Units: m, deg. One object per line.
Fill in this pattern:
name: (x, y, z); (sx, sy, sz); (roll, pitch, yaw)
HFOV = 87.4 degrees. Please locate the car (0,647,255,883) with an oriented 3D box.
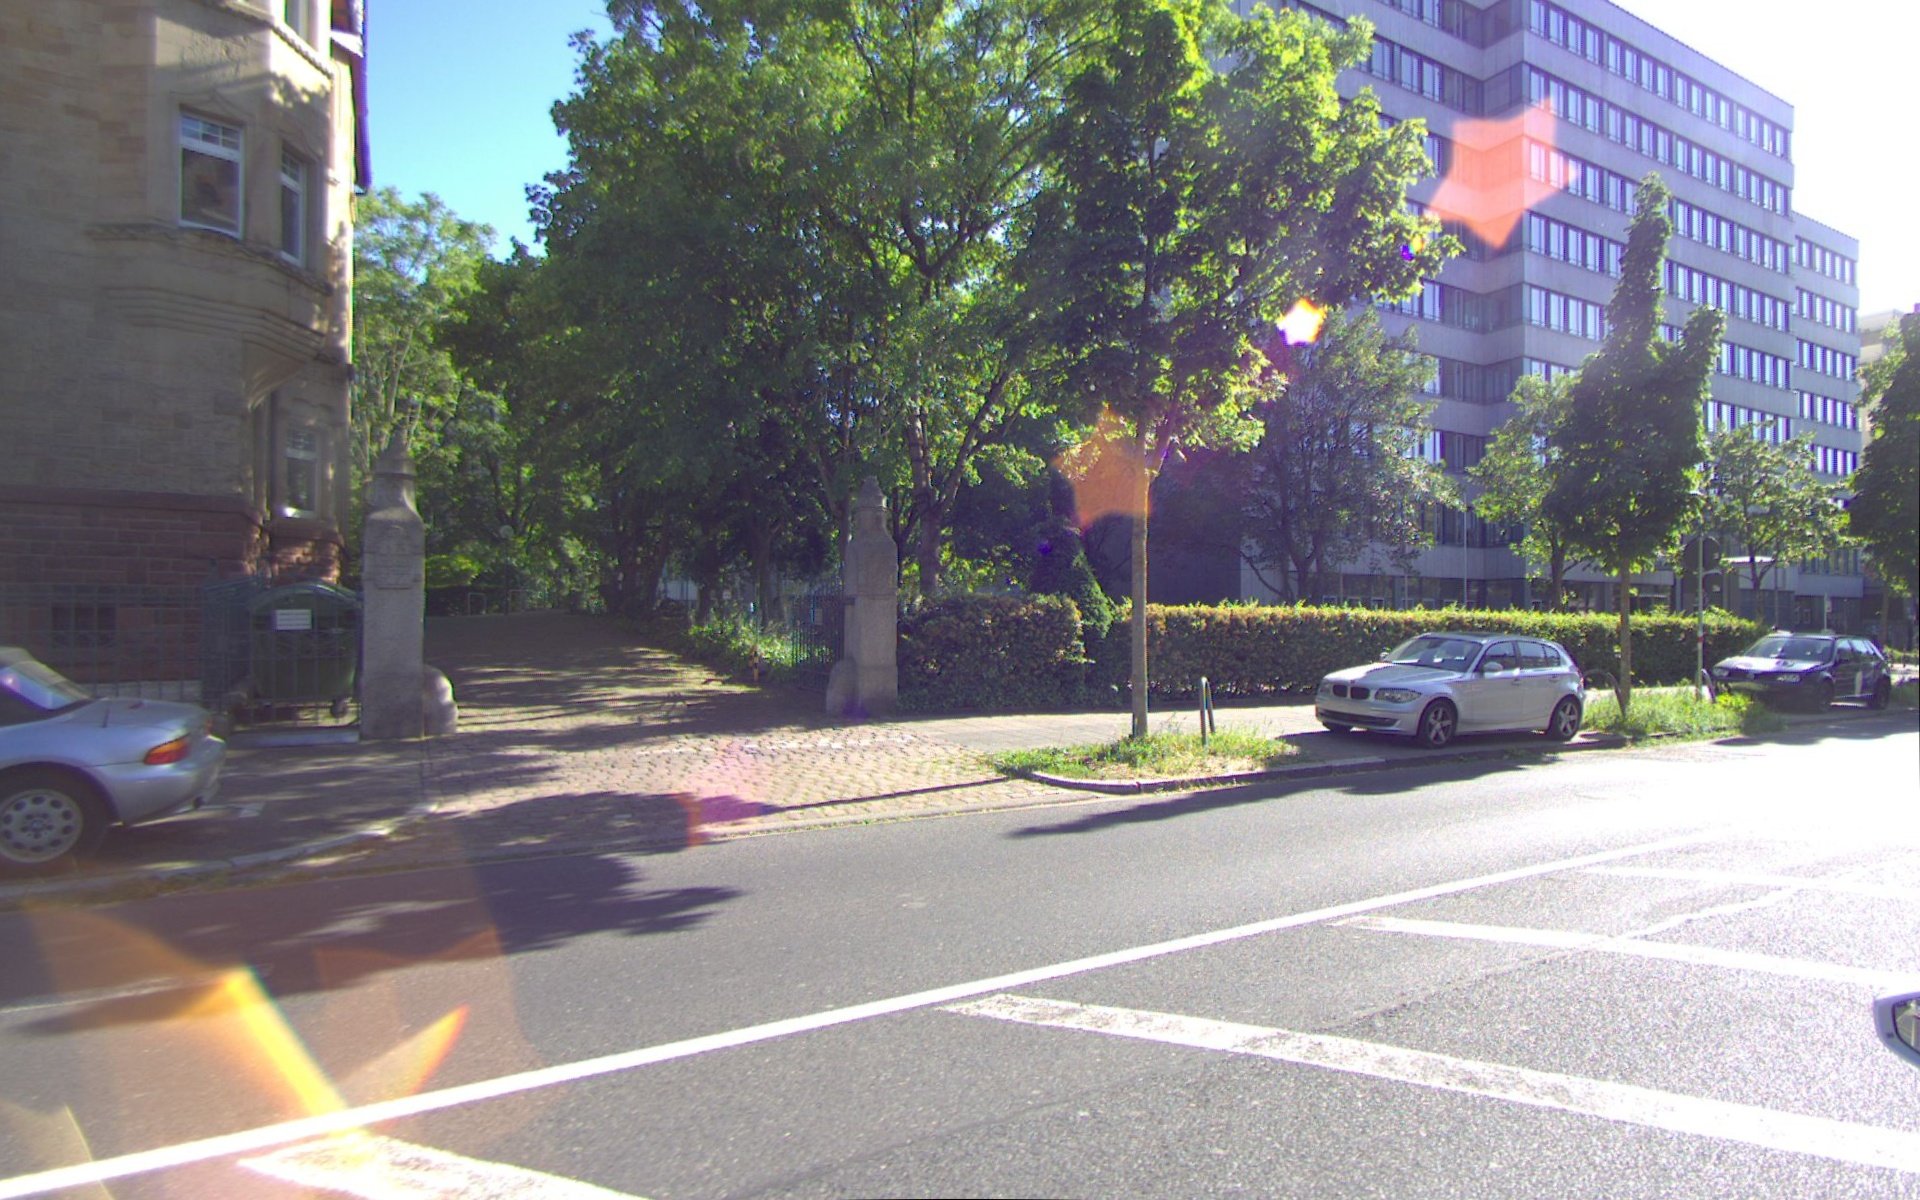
car: (-6.652, 0.952, 5.872); (3.967, 1.272, 1.671); (1, -1, -30)

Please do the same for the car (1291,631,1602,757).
car: (6.680, 1.182, 13.720); (4.138, 1.402, 1.681); (1, 2, -28)

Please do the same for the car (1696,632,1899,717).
car: (16.289, 1.372, 19.511); (4.022, 1.478, 1.705); (1, -1, -29)

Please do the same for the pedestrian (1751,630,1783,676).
pedestrian: (37.109, 2.430, 46.198); (0.996, 2.040, 0.832); (2, 0, -30)
